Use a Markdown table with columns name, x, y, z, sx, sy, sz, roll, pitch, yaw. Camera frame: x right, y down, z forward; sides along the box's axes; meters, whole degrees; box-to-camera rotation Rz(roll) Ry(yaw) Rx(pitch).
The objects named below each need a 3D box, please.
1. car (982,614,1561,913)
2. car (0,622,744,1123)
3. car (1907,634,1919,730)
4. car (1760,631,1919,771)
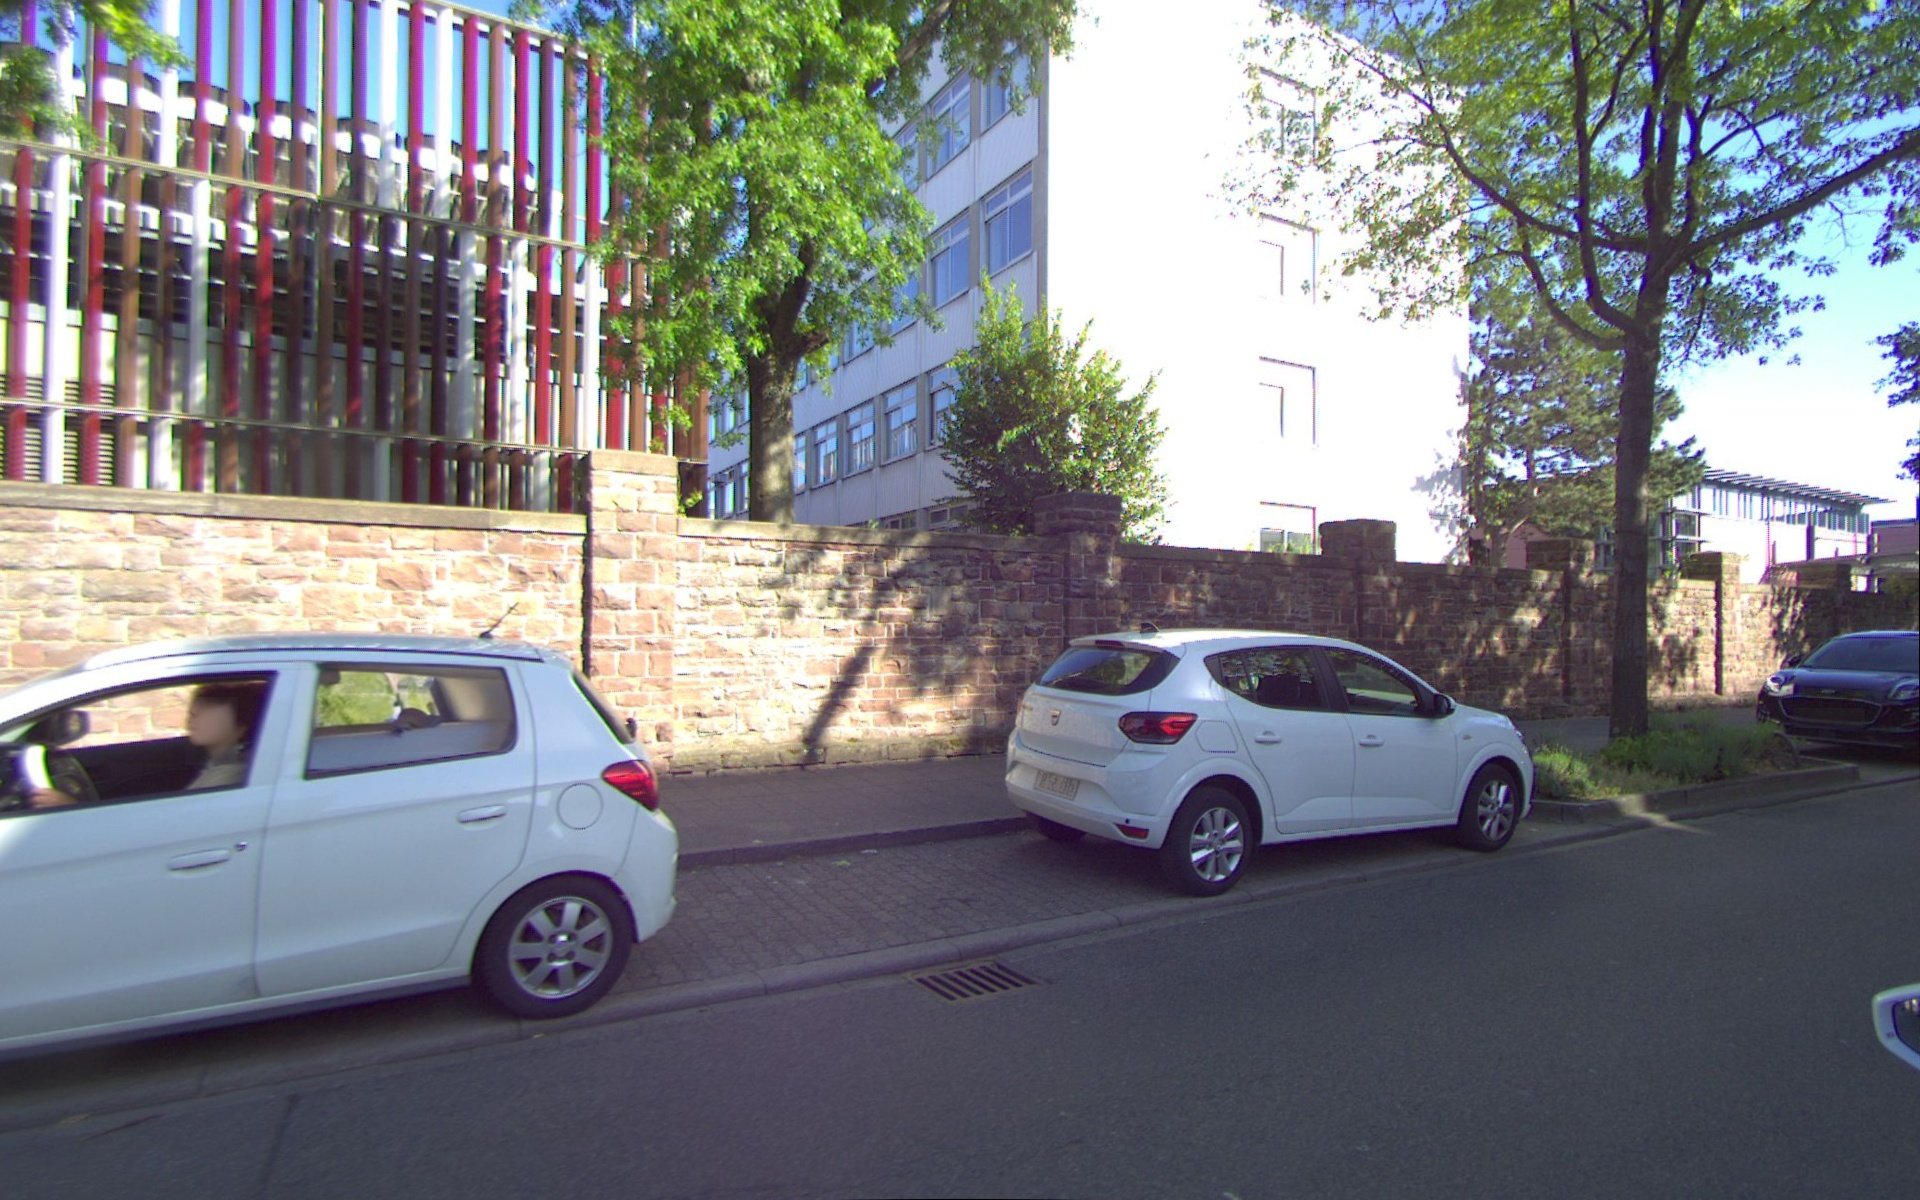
| name | x | y | z | sx | sy | sz | roll | pitch | yaw |
| --- | --- | --- | --- | --- | --- | --- | --- | --- | --- |
| car | 2.221 | 0.915 | 7.019 | 3.802 | 1.531 | 1.669 | 1 | 1 | -29 |
| car | -2.893 | 0.841 | 3.902 | 3.707 | 1.421 | 1.566 | 1 | 2 | -31 |
| car | 16.375 | 1.271 | 15.577 | 3.799 | 1.441 | 1.676 | 1 | 0 | -34 |
| car | 12.064 | 1.182 | 12.865 | 3.998 | 1.535 | 1.566 | 1 | -1 | -31 |
